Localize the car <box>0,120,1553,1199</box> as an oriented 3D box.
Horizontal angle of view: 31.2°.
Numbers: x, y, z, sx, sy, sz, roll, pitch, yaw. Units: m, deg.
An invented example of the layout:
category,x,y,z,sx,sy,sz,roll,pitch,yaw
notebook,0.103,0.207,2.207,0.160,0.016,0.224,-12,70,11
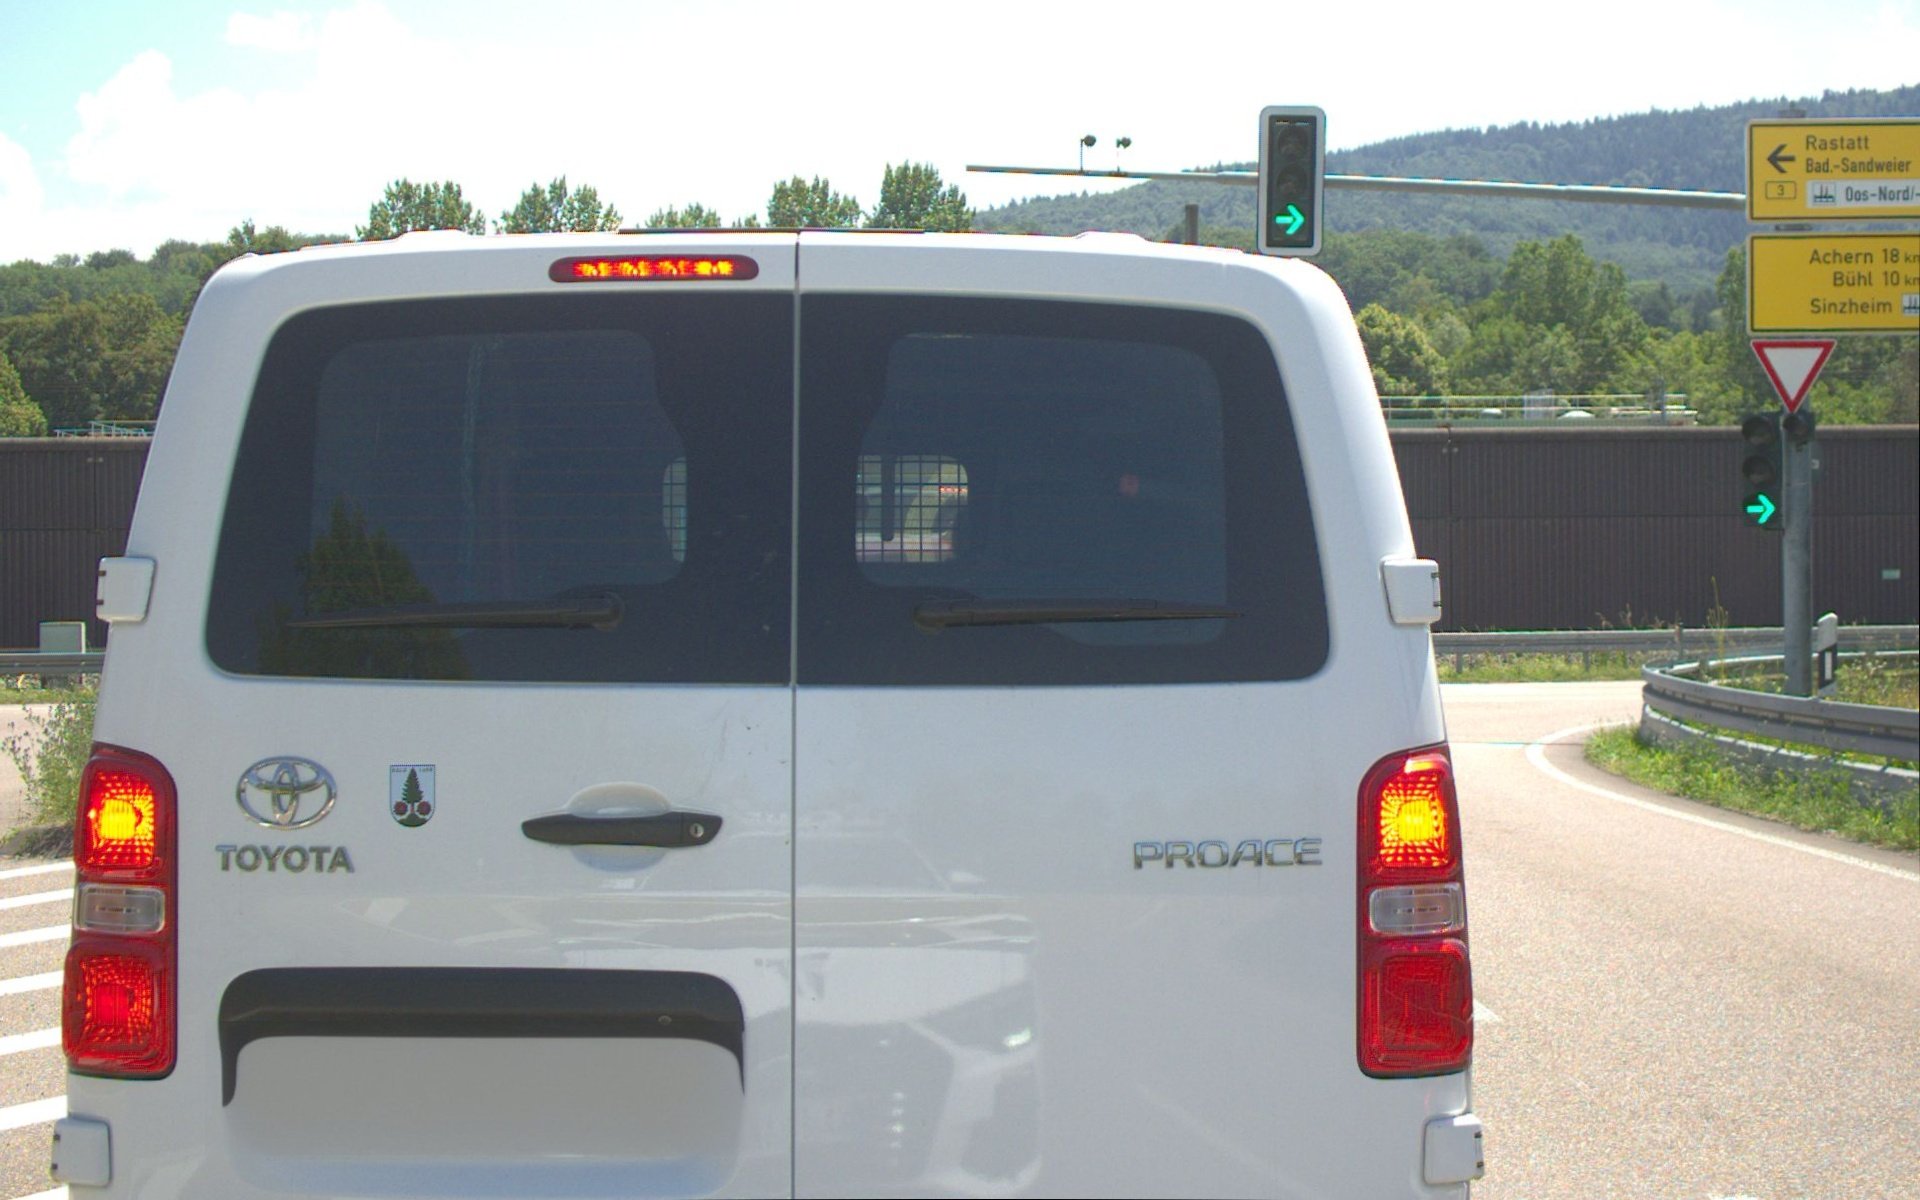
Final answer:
category,x,y,z,sx,sy,sz,roll,pitch,yaw
car,-0.256,0.441,5.929,1.814,2.011,4.000,0,1,-1
